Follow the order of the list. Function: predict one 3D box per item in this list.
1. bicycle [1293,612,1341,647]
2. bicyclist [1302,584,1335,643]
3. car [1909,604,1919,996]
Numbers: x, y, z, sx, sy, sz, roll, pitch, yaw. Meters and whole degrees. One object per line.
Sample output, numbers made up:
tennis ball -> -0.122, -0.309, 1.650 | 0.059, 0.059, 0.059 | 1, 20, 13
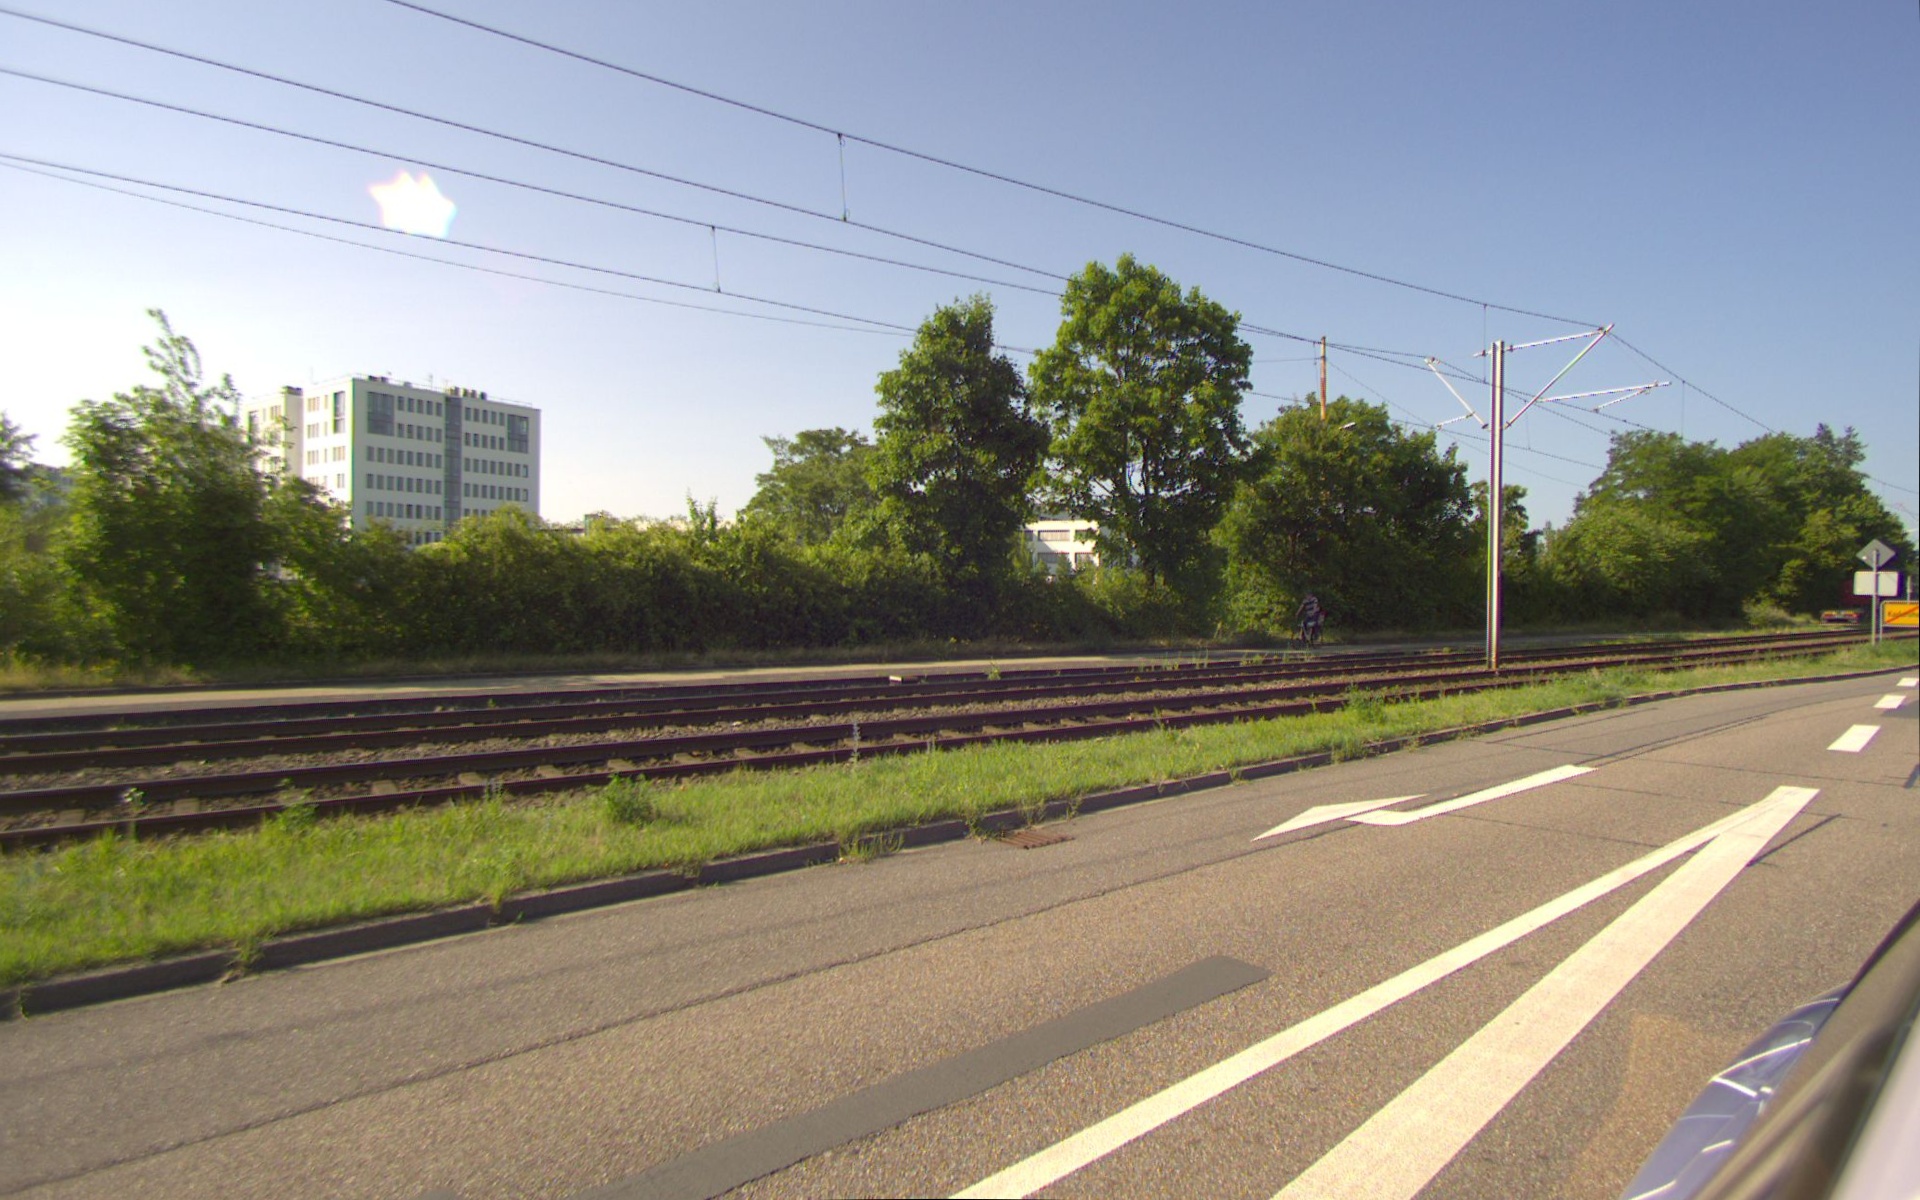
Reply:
bicycle -> 11.275, 0.918, 31.921 | 1.840, 1.060, 0.547 | 0, 1, -39
bicyclist -> 11.319, 0.411, 31.947 | 0.704, 1.830, 0.708 | 0, 0, -38
car -> 5.757, 0.735, 4.492 | 4.383, 1.442, 1.819 | 0, 0, -41
